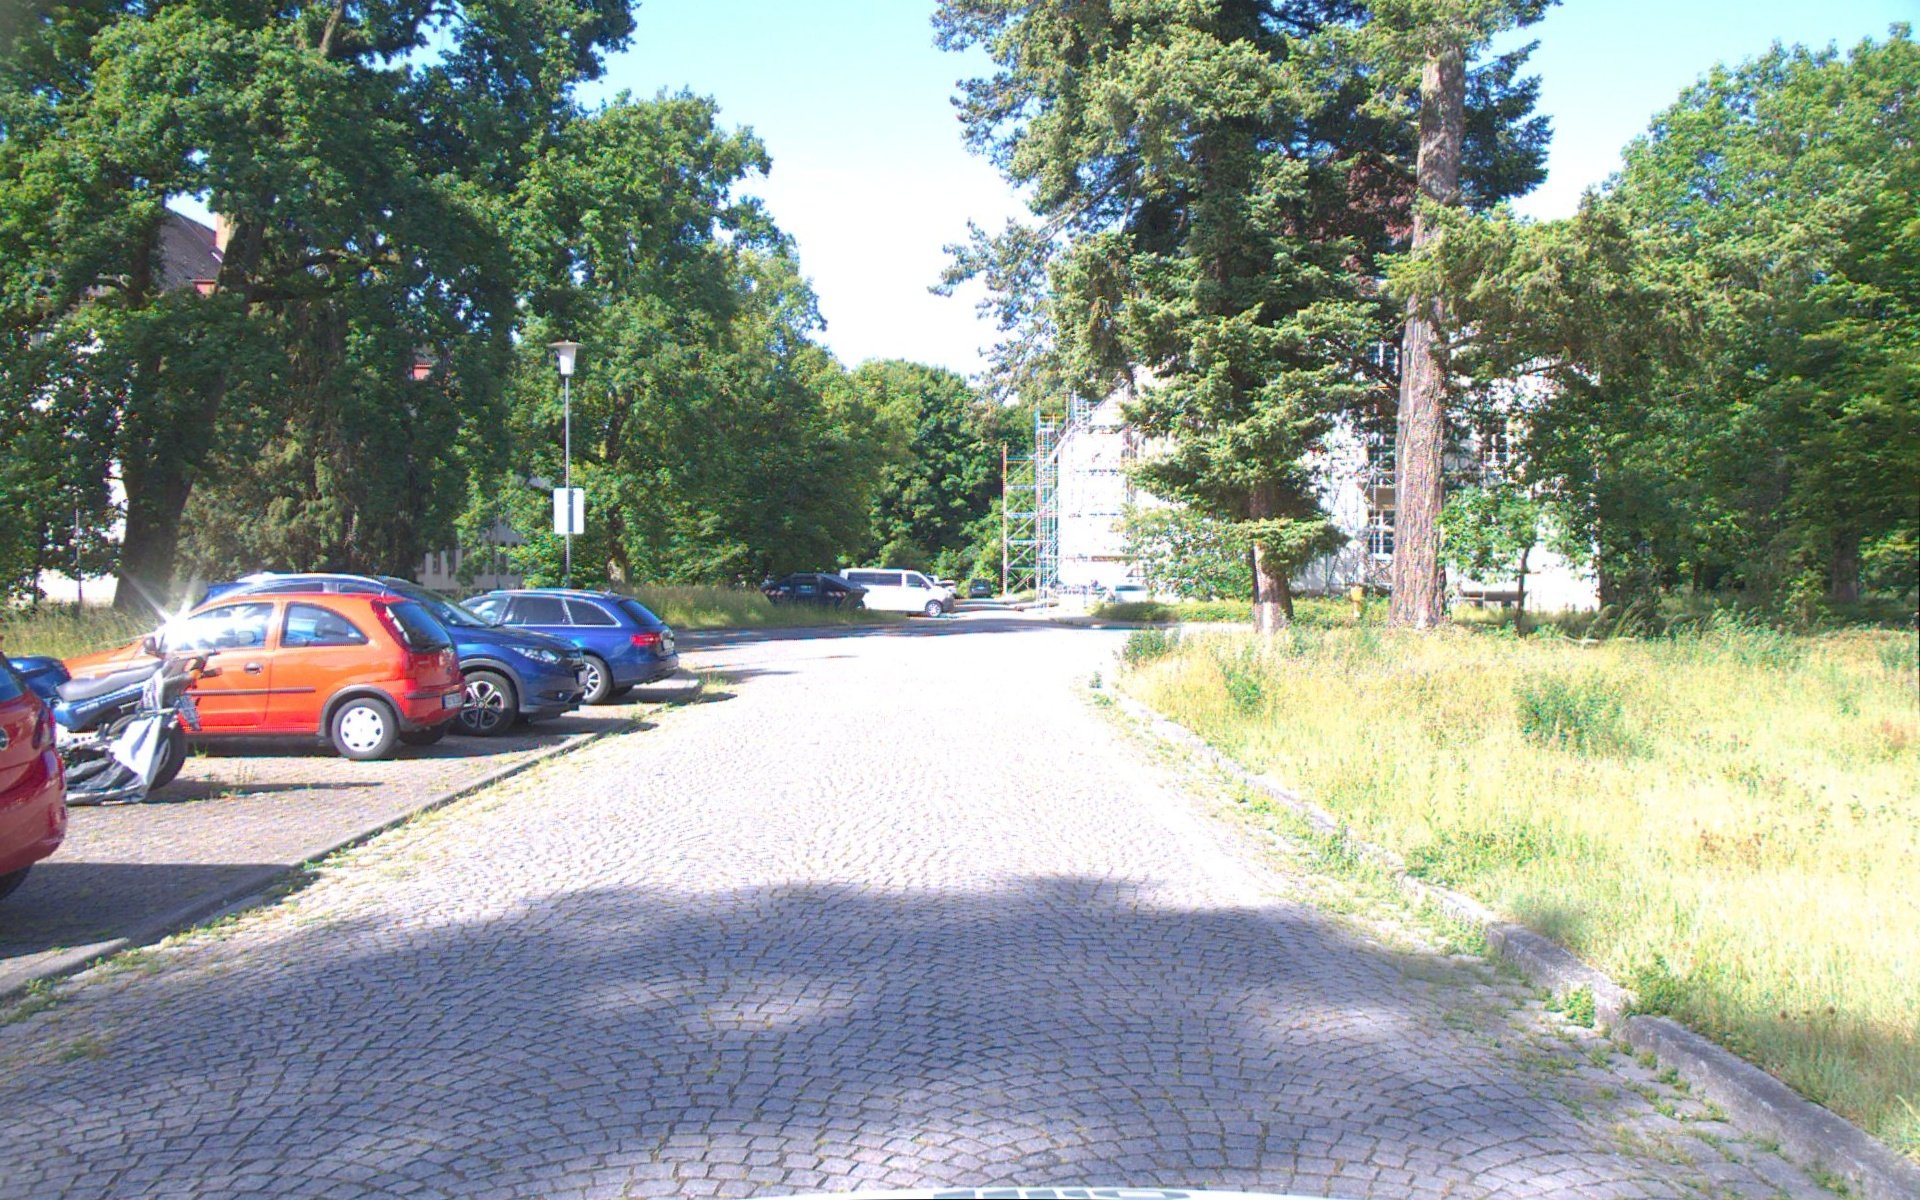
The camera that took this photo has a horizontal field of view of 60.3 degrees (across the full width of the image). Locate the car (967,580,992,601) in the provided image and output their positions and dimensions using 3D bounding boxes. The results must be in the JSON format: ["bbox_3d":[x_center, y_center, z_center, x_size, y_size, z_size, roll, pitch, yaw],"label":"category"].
[{"bbox_3d":[1.589,-0.802,137.495,1.931,1.697,4.085,-1,0,-1],"label":"car"}]

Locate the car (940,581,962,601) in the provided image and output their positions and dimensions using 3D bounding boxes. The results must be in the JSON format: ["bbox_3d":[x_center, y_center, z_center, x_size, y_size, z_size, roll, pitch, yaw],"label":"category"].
[{"bbox_3d":[-0.763,-0.730,137.158,1.775,1.607,4.134,-1,0,-1],"label":"car"}]

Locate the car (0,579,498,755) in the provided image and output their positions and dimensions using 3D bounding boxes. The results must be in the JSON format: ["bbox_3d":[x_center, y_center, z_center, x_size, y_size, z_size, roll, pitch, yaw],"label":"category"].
[{"bbox_3d":[-6.409,0.566,15.099,3.842,1.458,1.842,1,1,0],"label":"car"}]

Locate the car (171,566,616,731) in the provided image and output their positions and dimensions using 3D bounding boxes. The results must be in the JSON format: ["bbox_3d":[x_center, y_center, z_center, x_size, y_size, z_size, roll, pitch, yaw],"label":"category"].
[{"bbox_3d":[-5.865,0.469,17.503,4.051,1.607,1.884,1,1,-1],"label":"car"}]

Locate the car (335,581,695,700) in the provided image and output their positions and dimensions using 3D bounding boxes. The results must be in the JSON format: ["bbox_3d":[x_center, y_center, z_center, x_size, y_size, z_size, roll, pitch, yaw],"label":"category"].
[{"bbox_3d":[-5.869,0.508,22.187,4.269,1.470,1.921,1,1,2],"label":"car"}]

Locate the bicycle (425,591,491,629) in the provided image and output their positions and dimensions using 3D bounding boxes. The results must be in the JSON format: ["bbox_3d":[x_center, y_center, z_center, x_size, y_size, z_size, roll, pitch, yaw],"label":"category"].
[{"bbox_3d":[-15.388,0.303,50.695,1.889,1.122,0.566,-1,2,-25],"label":"bicycle"}]

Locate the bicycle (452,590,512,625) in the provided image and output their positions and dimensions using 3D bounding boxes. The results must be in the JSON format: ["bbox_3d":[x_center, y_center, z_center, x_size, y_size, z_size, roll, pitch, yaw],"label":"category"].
[{"bbox_3d":[-15.957,0.250,55.227,1.885,1.122,0.567,0,2,-20],"label":"bicycle"}]

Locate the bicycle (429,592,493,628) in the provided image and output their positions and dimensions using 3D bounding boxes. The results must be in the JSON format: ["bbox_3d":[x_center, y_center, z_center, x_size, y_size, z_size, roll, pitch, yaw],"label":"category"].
[{"bbox_3d":[-15.938,0.312,52.844,1.892,1.122,0.565,0,2,-29],"label":"bicycle"}]

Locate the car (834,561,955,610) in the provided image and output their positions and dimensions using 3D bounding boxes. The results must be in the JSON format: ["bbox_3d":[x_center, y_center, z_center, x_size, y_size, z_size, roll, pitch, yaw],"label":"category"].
[{"bbox_3d":[-2.779,-0.626,71.113,5.128,2.051,1.950,0,0,-1],"label":"car"}]

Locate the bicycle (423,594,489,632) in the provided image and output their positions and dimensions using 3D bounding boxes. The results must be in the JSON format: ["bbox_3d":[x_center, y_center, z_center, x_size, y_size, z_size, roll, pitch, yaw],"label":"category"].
[{"bbox_3d":[-15.604,0.384,51.190,1.889,1.122,0.566,-1,2,-25],"label":"bicycle"}]

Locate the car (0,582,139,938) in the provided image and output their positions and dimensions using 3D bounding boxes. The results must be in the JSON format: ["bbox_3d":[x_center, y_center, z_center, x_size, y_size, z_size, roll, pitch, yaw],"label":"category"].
[{"bbox_3d":[-5.980,0.648,7.220,3.844,1.486,1.841,1,1,-2],"label":"car"}]

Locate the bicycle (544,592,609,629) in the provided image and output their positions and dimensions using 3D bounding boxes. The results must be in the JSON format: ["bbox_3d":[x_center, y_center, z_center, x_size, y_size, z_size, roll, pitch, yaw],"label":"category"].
[{"bbox_3d":[-12.074,0.318,52.081,1.888,1.076,0.472,-2,1,-24],"label":"bicycle"}]

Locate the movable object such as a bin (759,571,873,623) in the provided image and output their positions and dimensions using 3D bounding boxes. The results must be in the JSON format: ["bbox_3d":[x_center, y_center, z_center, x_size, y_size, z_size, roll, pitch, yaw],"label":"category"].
[{"bbox_3d":[-5.034,-0.113,57.982,3.490,1.775,2.026,0,0,18],"label":"movable object such as a bin"}]

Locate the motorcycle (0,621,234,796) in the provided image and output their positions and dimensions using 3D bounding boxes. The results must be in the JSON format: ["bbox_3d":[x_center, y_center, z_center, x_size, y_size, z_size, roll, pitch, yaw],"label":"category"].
[{"bbox_3d":[-6.370,0.748,11.708,2.196,1.182,0.577,1,0,0],"label":"motorcycle"}]
